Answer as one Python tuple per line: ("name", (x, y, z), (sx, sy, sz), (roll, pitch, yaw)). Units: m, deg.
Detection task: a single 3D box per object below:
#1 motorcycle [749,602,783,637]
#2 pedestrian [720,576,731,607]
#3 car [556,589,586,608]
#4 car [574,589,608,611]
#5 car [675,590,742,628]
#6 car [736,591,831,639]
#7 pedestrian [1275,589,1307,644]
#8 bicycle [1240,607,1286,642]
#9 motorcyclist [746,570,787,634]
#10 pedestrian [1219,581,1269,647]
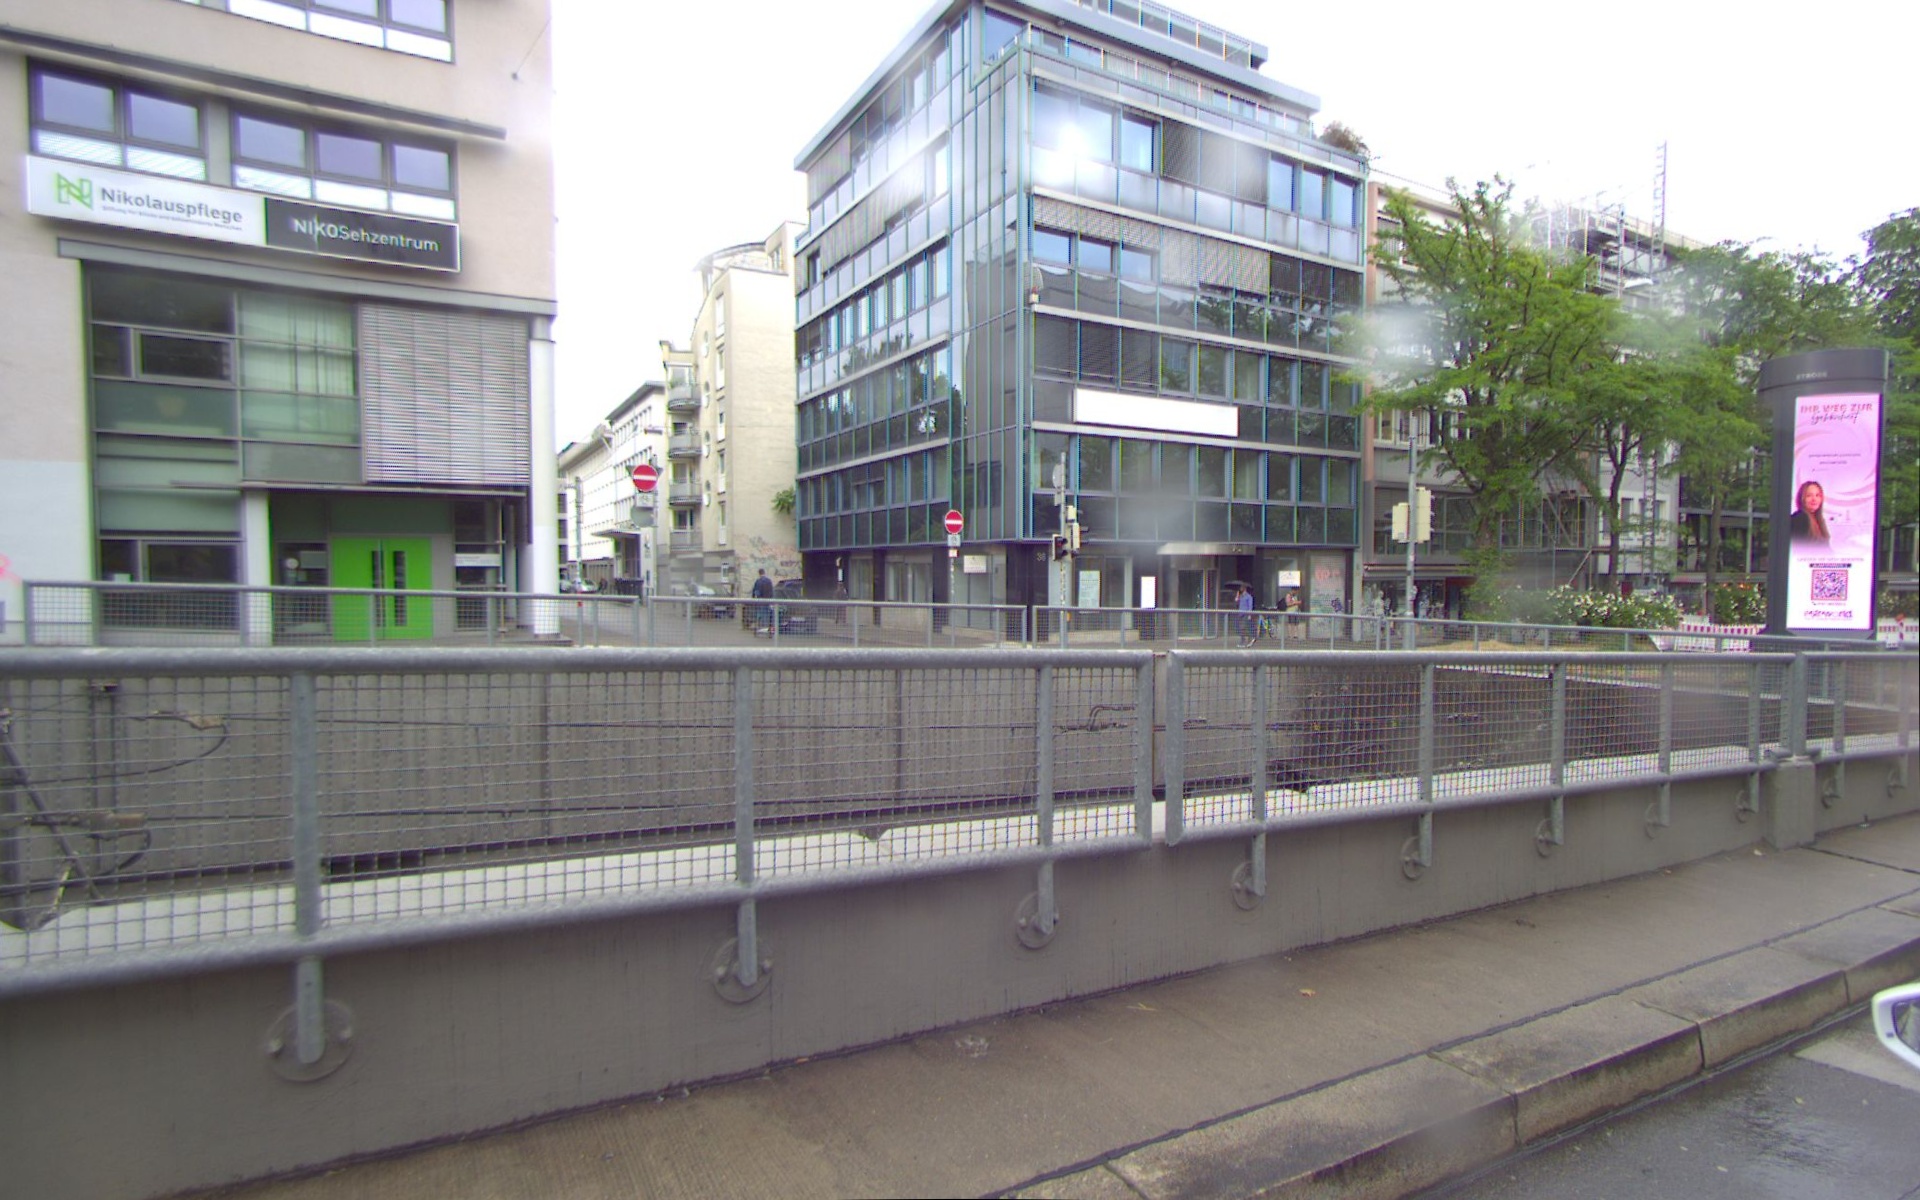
("motorcycle", (-5.690, 0.561, 29.464), (0.696, 0.984, 0.977), (1, 2, -29))
("pedestrian", (-12.430, -0.443, 53.298), (0.443, 1.664, 0.326), (1, 2, -35))
("car", (-34.097, -0.155, 88.002), (1.777, 1.578, 3.967), (1, 0, -30))
("car", (-27.986, -0.022, 76.073), (1.777, 1.578, 3.967), (1, 0, -30))
("car", (-11.104, 0.350, 44.113), (1.777, 1.578, 3.966), (1, 0, -31))
("car", (-6.238, 0.493, 35.175), (1.977, 1.578, 3.966), (1, 0, -31))
("pedestrian", (10.951, 0.538, 33.236), (0.688, 1.765, 0.691), (1, 2, -36))
("bicycle", (9.871, 0.805, 32.729), (1.544, 1.100, 0.444), (1, 1, -27))
("motorcyclist", (-5.678, 0.049, 29.447), (0.850, 1.832, 1.007), (1, 2, -29))
("pedestrian", (8.266, 0.414, 29.255), (1.047, 1.863, 0.853), (1, 2, -30))
